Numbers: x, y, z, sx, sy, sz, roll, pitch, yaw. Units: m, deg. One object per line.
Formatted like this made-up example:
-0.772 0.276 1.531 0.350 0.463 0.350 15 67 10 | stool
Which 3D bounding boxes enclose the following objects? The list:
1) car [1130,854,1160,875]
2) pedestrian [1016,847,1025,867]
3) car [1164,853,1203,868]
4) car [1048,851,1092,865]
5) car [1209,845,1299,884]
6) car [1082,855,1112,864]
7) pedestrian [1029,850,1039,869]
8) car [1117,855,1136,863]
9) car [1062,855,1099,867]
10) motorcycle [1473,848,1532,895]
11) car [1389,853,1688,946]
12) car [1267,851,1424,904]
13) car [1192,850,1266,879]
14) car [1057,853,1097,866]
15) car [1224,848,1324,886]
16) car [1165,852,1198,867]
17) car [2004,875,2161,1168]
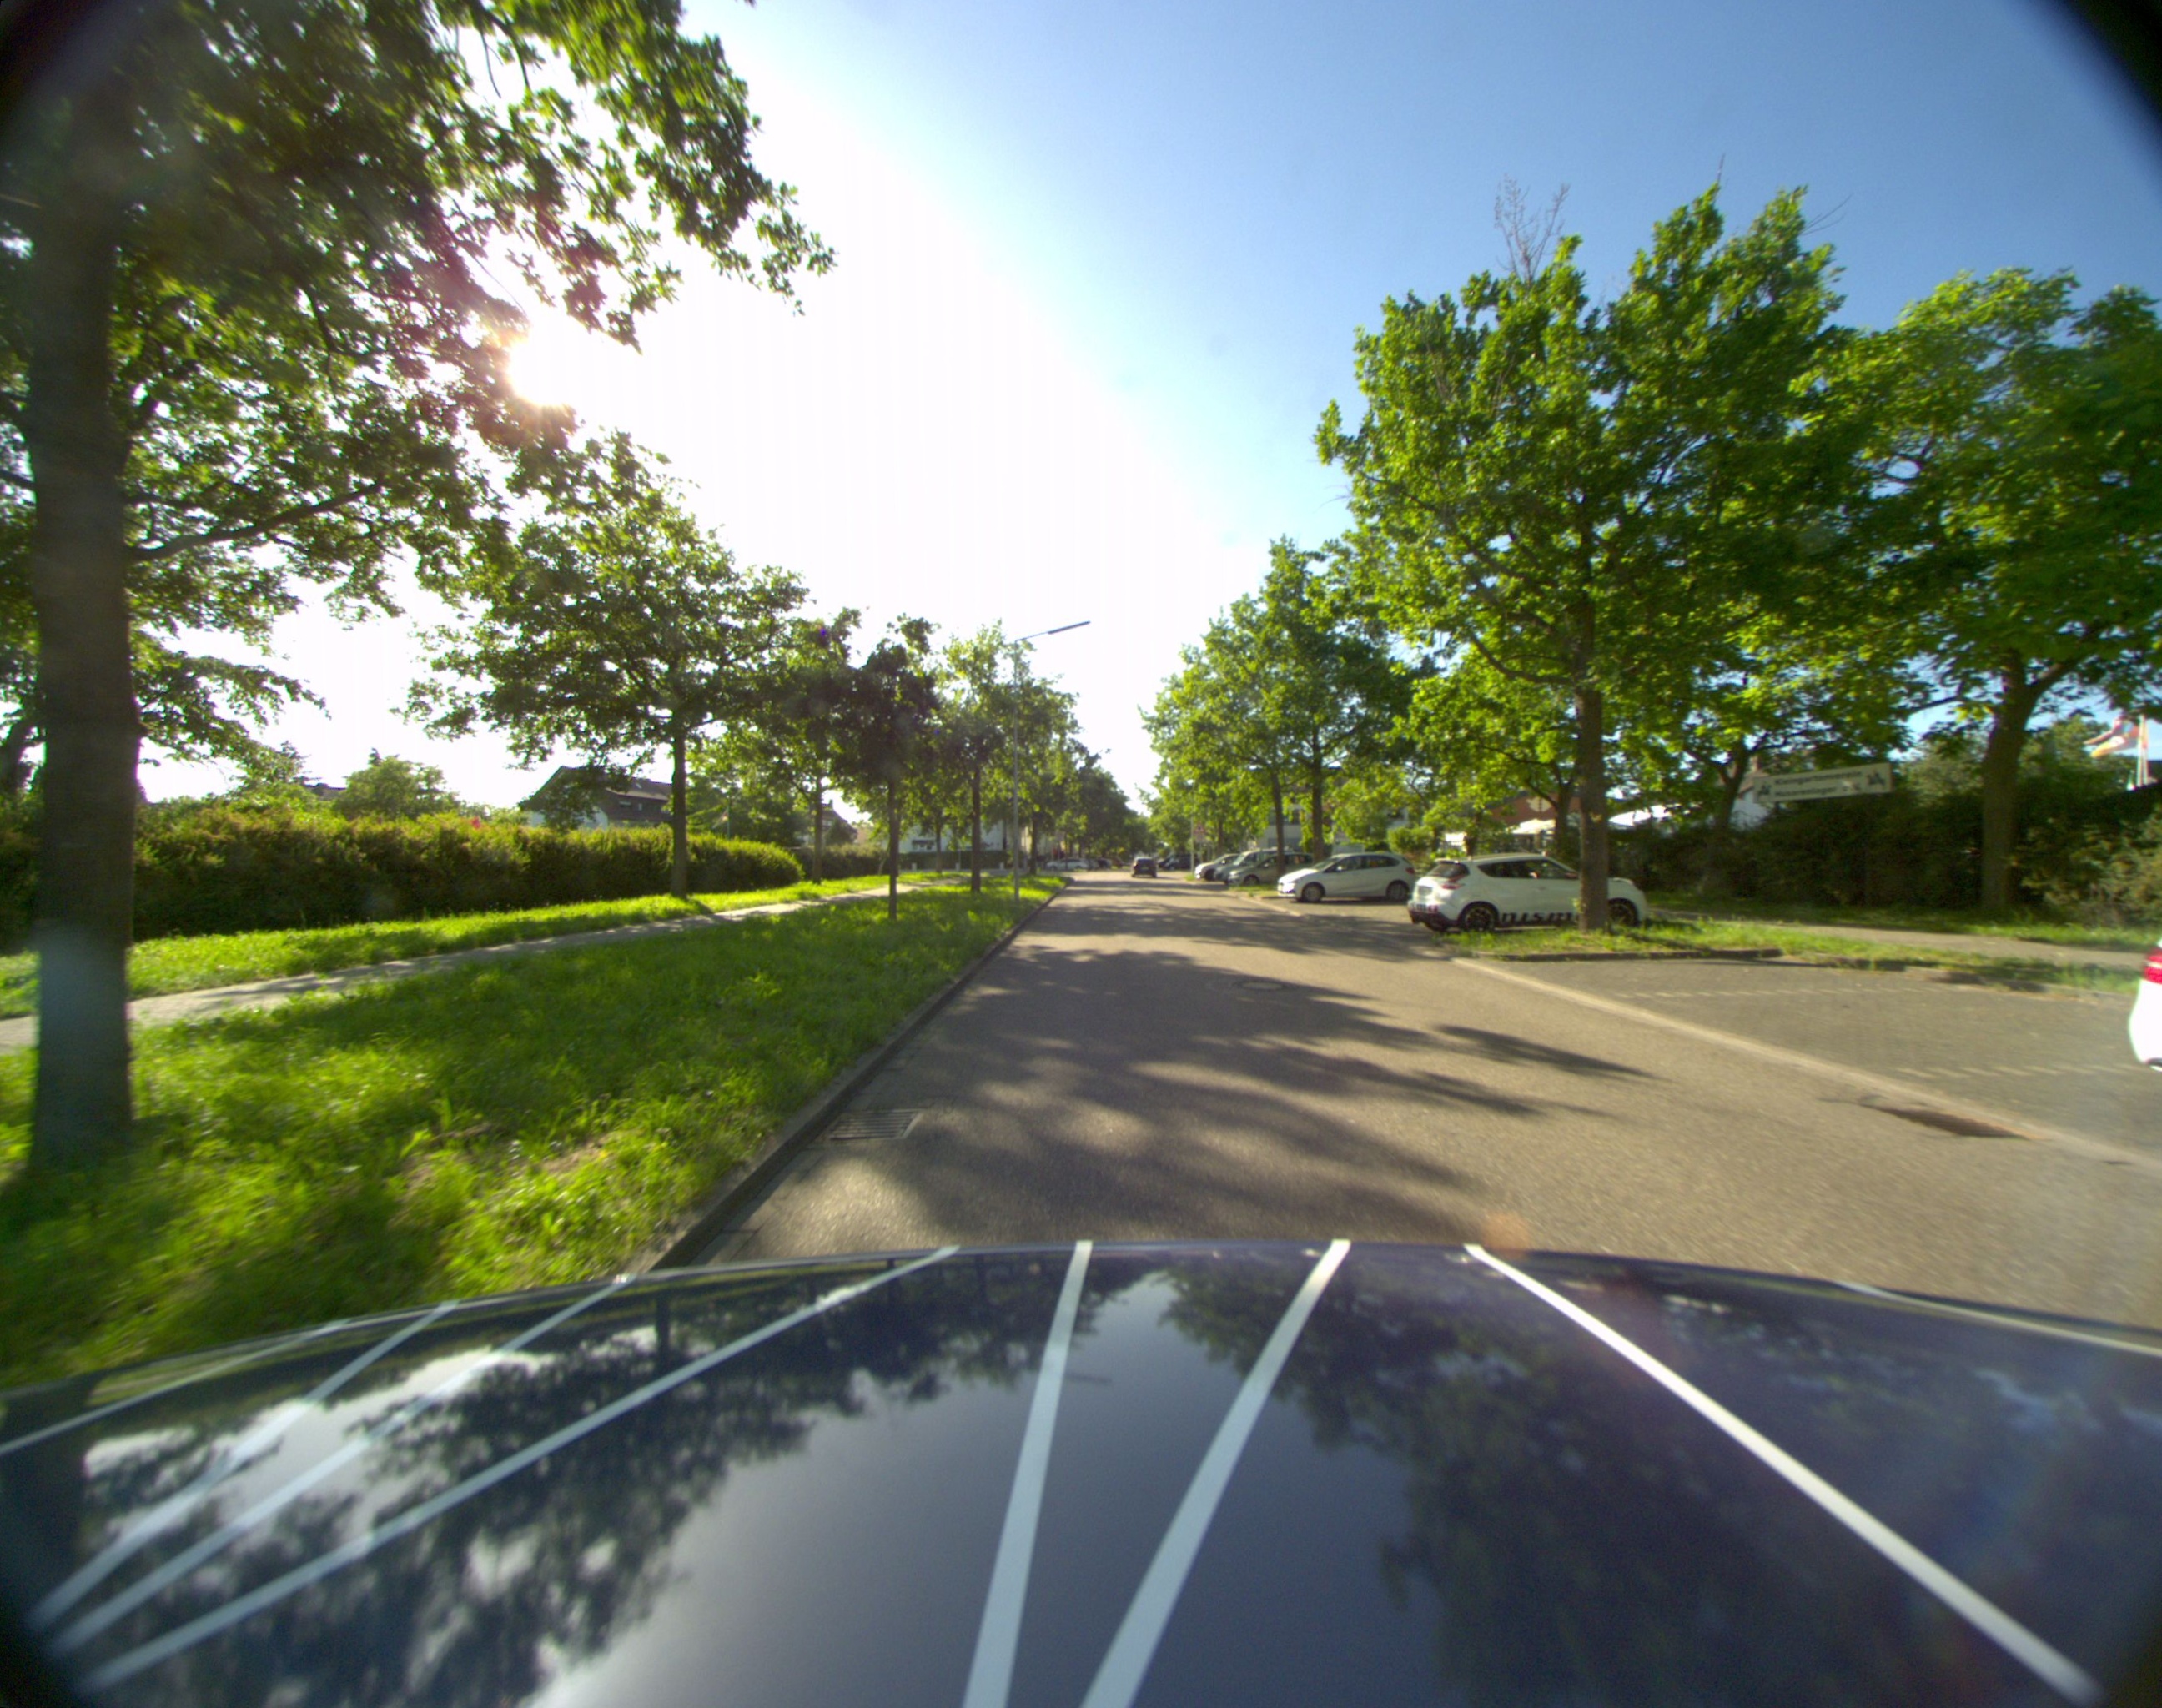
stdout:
4.514 0.698 53.846 1.688 1.394 4.426 1 0 -1 | car
-5.888 0.300 73.983 0.609 2.002 0.835 0 1 23 | pedestrian
10.683 0.681 79.243 4.033 1.471 1.942 0 0 7 | car
-1.127 0.461 81.017 4.511 1.471 1.941 0 0 3 | car
9.060 0.520 40.074 4.238 1.872 1.999 -2 0 1 | car
2.425 0.837 115.721 4.511 1.471 1.941 0 0 3 | car
-4.525 0.497 73.636 0.664 1.855 0.870 0 1 17 | pedestrian
9.757 1.008 163.544 4.033 1.767 1.942 0 0 7 | car
-0.057 0.839 94.702 4.511 1.471 1.941 0 0 3 | car
13.542 0.541 24.471 0.739 1.424 1.991 -4 0 2 | motorcycle
8.536 0.808 14.505 4.423 1.502 2.088 -2 0 0 | car
8.541 0.743 24.892 4.422 1.547 2.088 -2 0 3 | car
8.810 0.614 45.469 4.072 1.633 1.876 -2 0 3 | car
-0.445 0.662 89.665 4.511 1.471 1.941 0 0 3 | car
8.803 0.579 34.937 4.145 1.547 1.866 -2 0 3 | car
12.365 0.645 93.806 4.033 1.767 1.942 0 0 7 | car
8.195 0.863 3.810 4.639 1.549 2.191 -2 0 -3 | car
